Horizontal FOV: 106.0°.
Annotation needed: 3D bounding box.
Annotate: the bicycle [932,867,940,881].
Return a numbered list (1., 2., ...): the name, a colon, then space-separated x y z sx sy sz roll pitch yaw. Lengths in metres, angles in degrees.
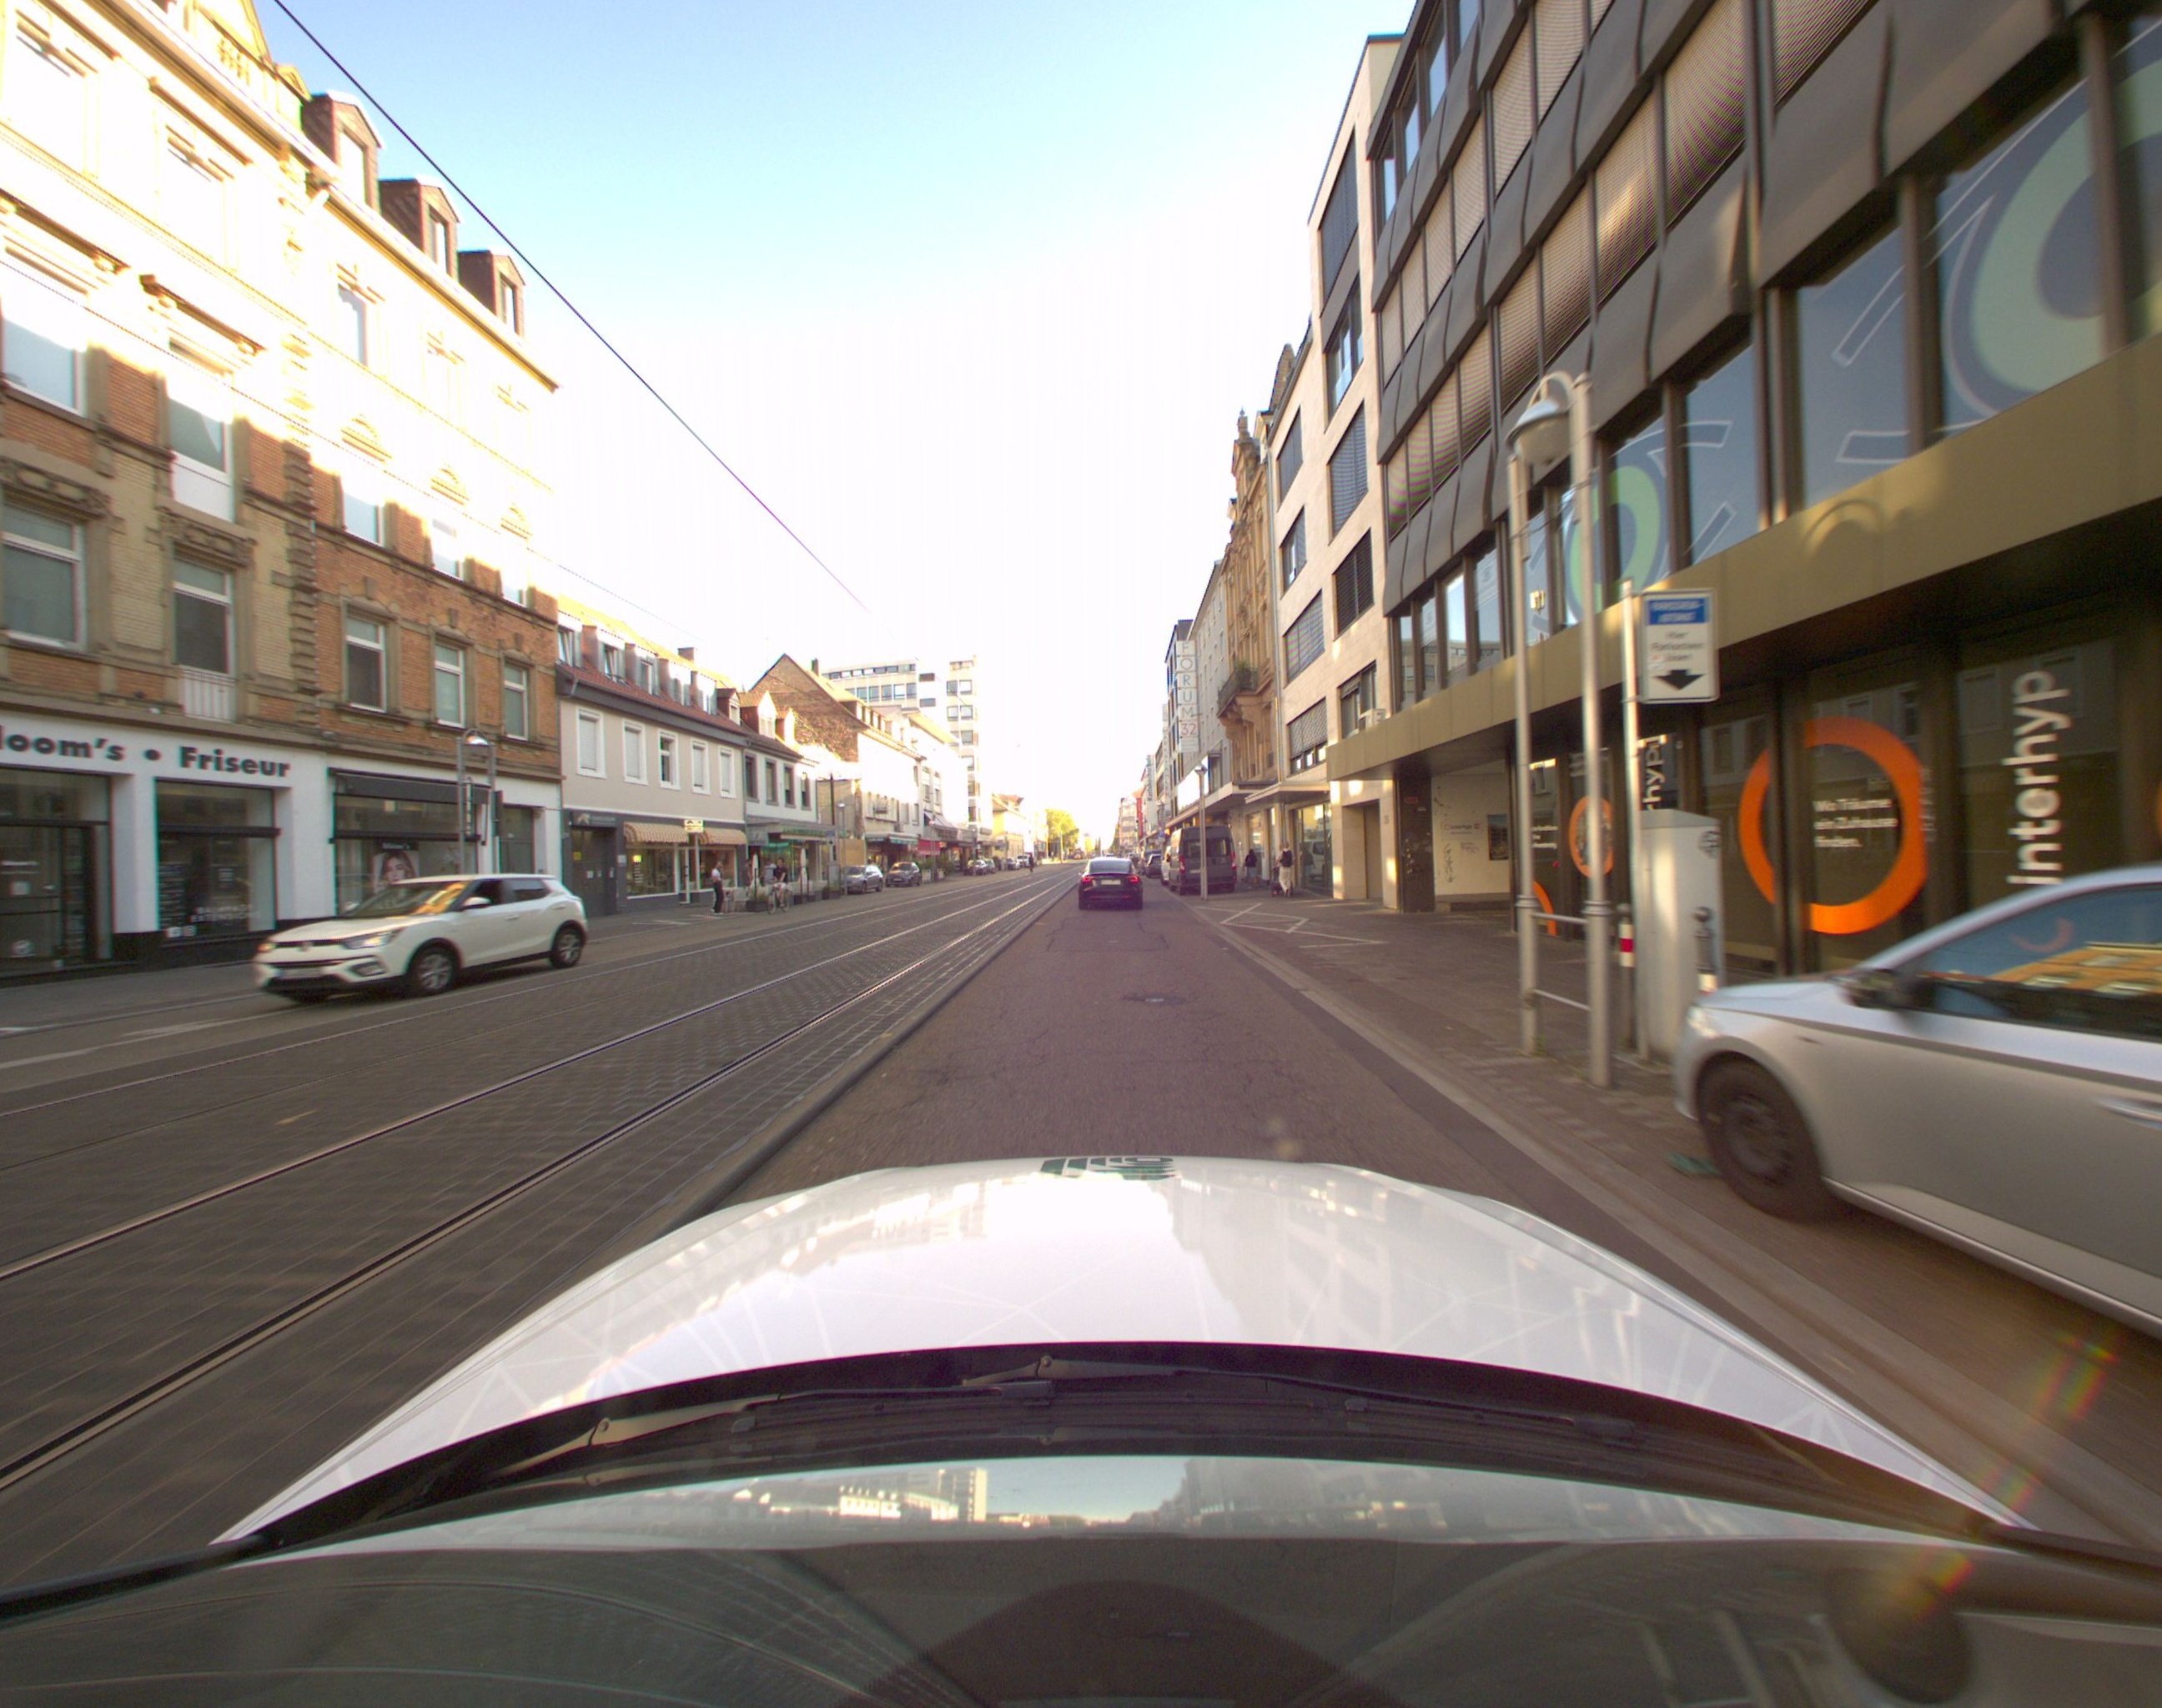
1. bicycle: -10.501 1.469 59.086 0.369 1.002 1.596 -2 0 -16

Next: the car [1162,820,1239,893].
1. car: 4.473 0.076 31.345 2.163 2.461 5.363 -4 0 1

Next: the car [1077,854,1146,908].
1. car: 0.933 0.735 24.489 1.862 1.427 4.367 -1 0 3

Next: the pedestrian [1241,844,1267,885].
1. pedestrian: 6.734 0.413 31.789 0.766 1.544 0.804 -4 0 2

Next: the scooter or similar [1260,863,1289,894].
1. scooter or similar: 6.239 0.771 26.278 0.591 0.936 1.298 -4 0 0

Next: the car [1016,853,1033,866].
1. car: -8.561 0.803 123.011 2.001 1.961 4.726 -2 0 2

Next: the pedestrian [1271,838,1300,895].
1. pedestrian: 6.366 0.391 25.396 0.554 1.714 0.955 -4 0 1

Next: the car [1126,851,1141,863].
1. car: 7.616 0.452 118.845 1.986 1.543 4.002 -2 -1 2

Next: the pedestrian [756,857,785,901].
1. pedestrian: -12.648 1.014 33.171 0.883 1.775 0.688 -2 0 0

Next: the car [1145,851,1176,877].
1. car: 5.007 0.608 51.825 1.744 1.499 3.756 -2 0 2

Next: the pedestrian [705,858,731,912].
1. pedestrian: -12.216 1.031 27.397 0.618 1.775 0.710 -1 0 -37

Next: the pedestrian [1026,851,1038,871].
1. pedestrian: -4.772 0.682 79.456 0.764 1.849 0.833 -2 0 31

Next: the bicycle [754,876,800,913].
1. bicycle: -10.211 1.348 27.457 0.575 1.115 1.956 -2 0 7

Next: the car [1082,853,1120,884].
1. car: 0.973 0.715 40.415 1.755 1.418 4.355 -2 -1 1

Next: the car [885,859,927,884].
1. car: -11.190 1.094 52.231 1.668 1.546 3.747 0 0 4

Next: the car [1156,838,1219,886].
1. car: 4.876 0.336 37.977 2.152 1.926 4.615 -5 0 -1

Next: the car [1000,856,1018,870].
1. car: -9.137 1.130 103.709 1.710 1.571 3.853 -2 0 4

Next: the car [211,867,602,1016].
1. car: -9.229 1.068 11.753 1.882 1.594 4.265 -3 0 3

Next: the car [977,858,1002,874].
1. car: -9.669 1.244 86.446 1.761 1.508 3.866 -2 0 6

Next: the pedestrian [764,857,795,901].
1. pedestrian: -10.211 0.846 27.573 0.620 1.444 0.876 -2 -1 6

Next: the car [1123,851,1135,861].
1. car: 8.672 0.389 147.339 1.986 1.753 4.002 -2 -1 2

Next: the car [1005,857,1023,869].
1. car: -8.977 1.175 109.630 1.762 1.508 3.976 -2 0 4

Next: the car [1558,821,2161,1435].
1. car: 3.463 0.635 2.341 1.738 1.462 4.298 -2 0 2

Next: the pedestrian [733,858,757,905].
1. pedestrian: -13.337 1.093 32.342 0.655 1.823 0.642 -2 0 -4

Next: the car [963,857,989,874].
1. car: -10.301 1.132 80.324 1.762 1.508 3.867 -2 0 3

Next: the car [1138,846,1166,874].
1. car: 5.040 0.398 57.968 1.814 1.870 3.756 -1 0 2

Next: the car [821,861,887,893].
1. car: -11.701 1.172 42.298 1.986 1.532 4.758 -1 -1 1

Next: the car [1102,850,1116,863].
1. car: 4.327 0.388 125.369 2.077 1.870 3.756 -1 0 2

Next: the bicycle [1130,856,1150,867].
1. bicycle: 6.561 0.799 90.027 2.153 1.097 0.686 -2 0 -1
